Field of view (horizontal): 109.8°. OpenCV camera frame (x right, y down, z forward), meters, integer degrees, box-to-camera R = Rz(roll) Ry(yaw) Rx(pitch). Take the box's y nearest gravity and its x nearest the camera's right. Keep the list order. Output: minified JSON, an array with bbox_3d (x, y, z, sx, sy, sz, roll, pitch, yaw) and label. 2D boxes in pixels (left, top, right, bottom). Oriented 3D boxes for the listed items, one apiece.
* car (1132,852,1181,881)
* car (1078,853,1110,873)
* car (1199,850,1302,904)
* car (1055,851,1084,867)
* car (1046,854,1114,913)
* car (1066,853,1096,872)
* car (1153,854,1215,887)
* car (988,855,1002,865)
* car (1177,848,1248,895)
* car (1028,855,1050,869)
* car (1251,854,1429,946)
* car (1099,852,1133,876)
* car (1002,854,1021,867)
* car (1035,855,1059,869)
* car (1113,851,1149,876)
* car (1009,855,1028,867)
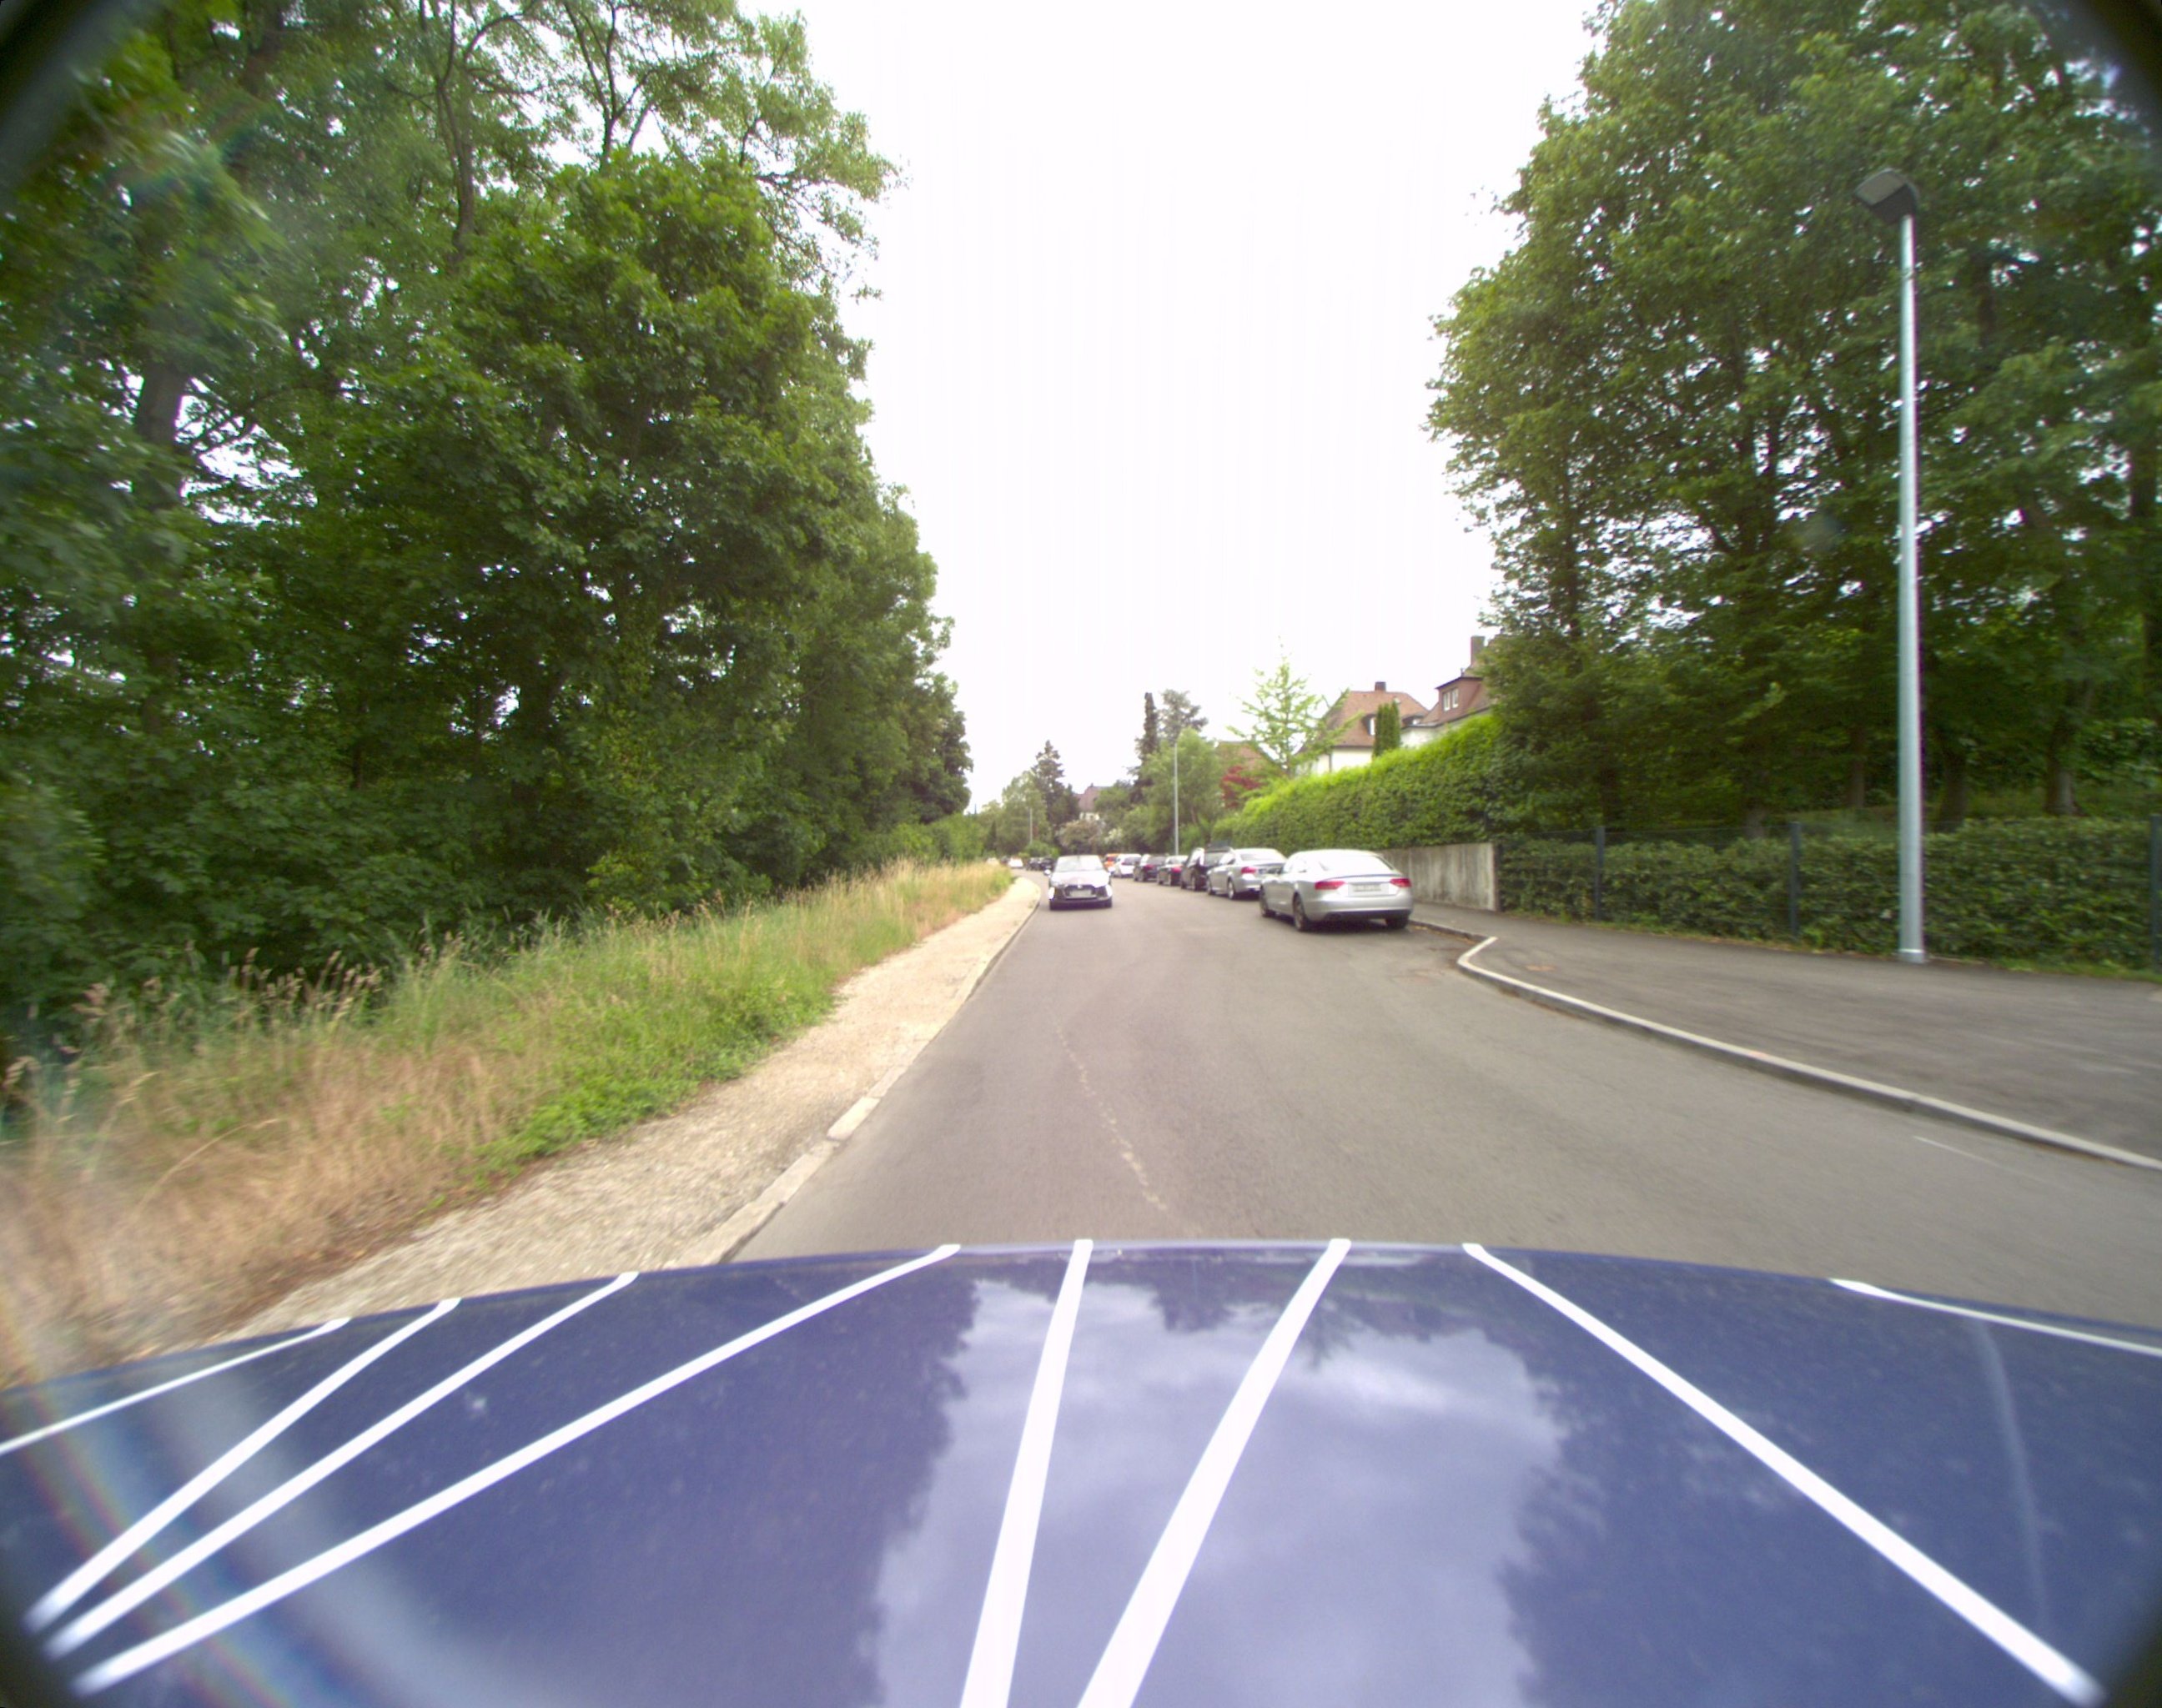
[{"bbox_3d":[3.877,0.628,39.753,1.723,1.377,4.661,-2,0,-4],"label":"car"},{"bbox_3d":[1.014,0.698,60.003,1.712,1.505,4.359,-2,0,-9],"label":"car"},{"bbox_3d":[4.872,0.613,22.454,1.780,1.366,4.339,-2,0,-4],"label":"car"},{"bbox_3d":[-1.128,0.465,69.989,1.713,1.402,4.155,-2,0,-14],"label":"car"},{"bbox_3d":[-0.003,0.777,21.849,1.711,1.466,4.195,-2,0,1],"label":"car"},{"bbox_3d":[-0.046,0.687,65.246,1.713,1.505,4.491,-2,0,-11],"label":"car"},{"bbox_3d":[4.471,0.683,33.614,1.716,1.333,4.105,-2,0,-6],"label":"car"},{"bbox_3d":[-13.552,0.869,120.114,1.713,1.502,4.549,-2,0,-12],"label":"car"},{"bbox_3d":[4.724,0.583,27.900,1.661,1.524,4.473,-2,0,-1],"label":"car"},{"bbox_3d":[-4.820,0.902,86.288,1.713,1.408,4.144,-2,0,-14],"label":"car"},{"bbox_3d":[4.573,0.724,14.184,1.836,1.366,4.445,-2,0,1],"label":"car"},{"bbox_3d":[2.391,0.653,52.280,1.549,1.505,3.641,-2,0,-9],"label":"car"},{"bbox_3d":[-9.651,0.873,105.126,1.798,1.654,4.386,-2,0,-14],"label":"car"},{"bbox_3d":[-3.665,0.858,81.551,1.713,1.408,4.127,-2,0,-14],"label":"car"},{"bbox_3d":[3.101,0.578,47.645,1.593,1.505,3.588,-2,0,-7],"label":"car"},{"bbox_3d":[-8.300,0.940,100.665,1.713,1.502,3.941,-2,0,-14],"label":"car"}]
